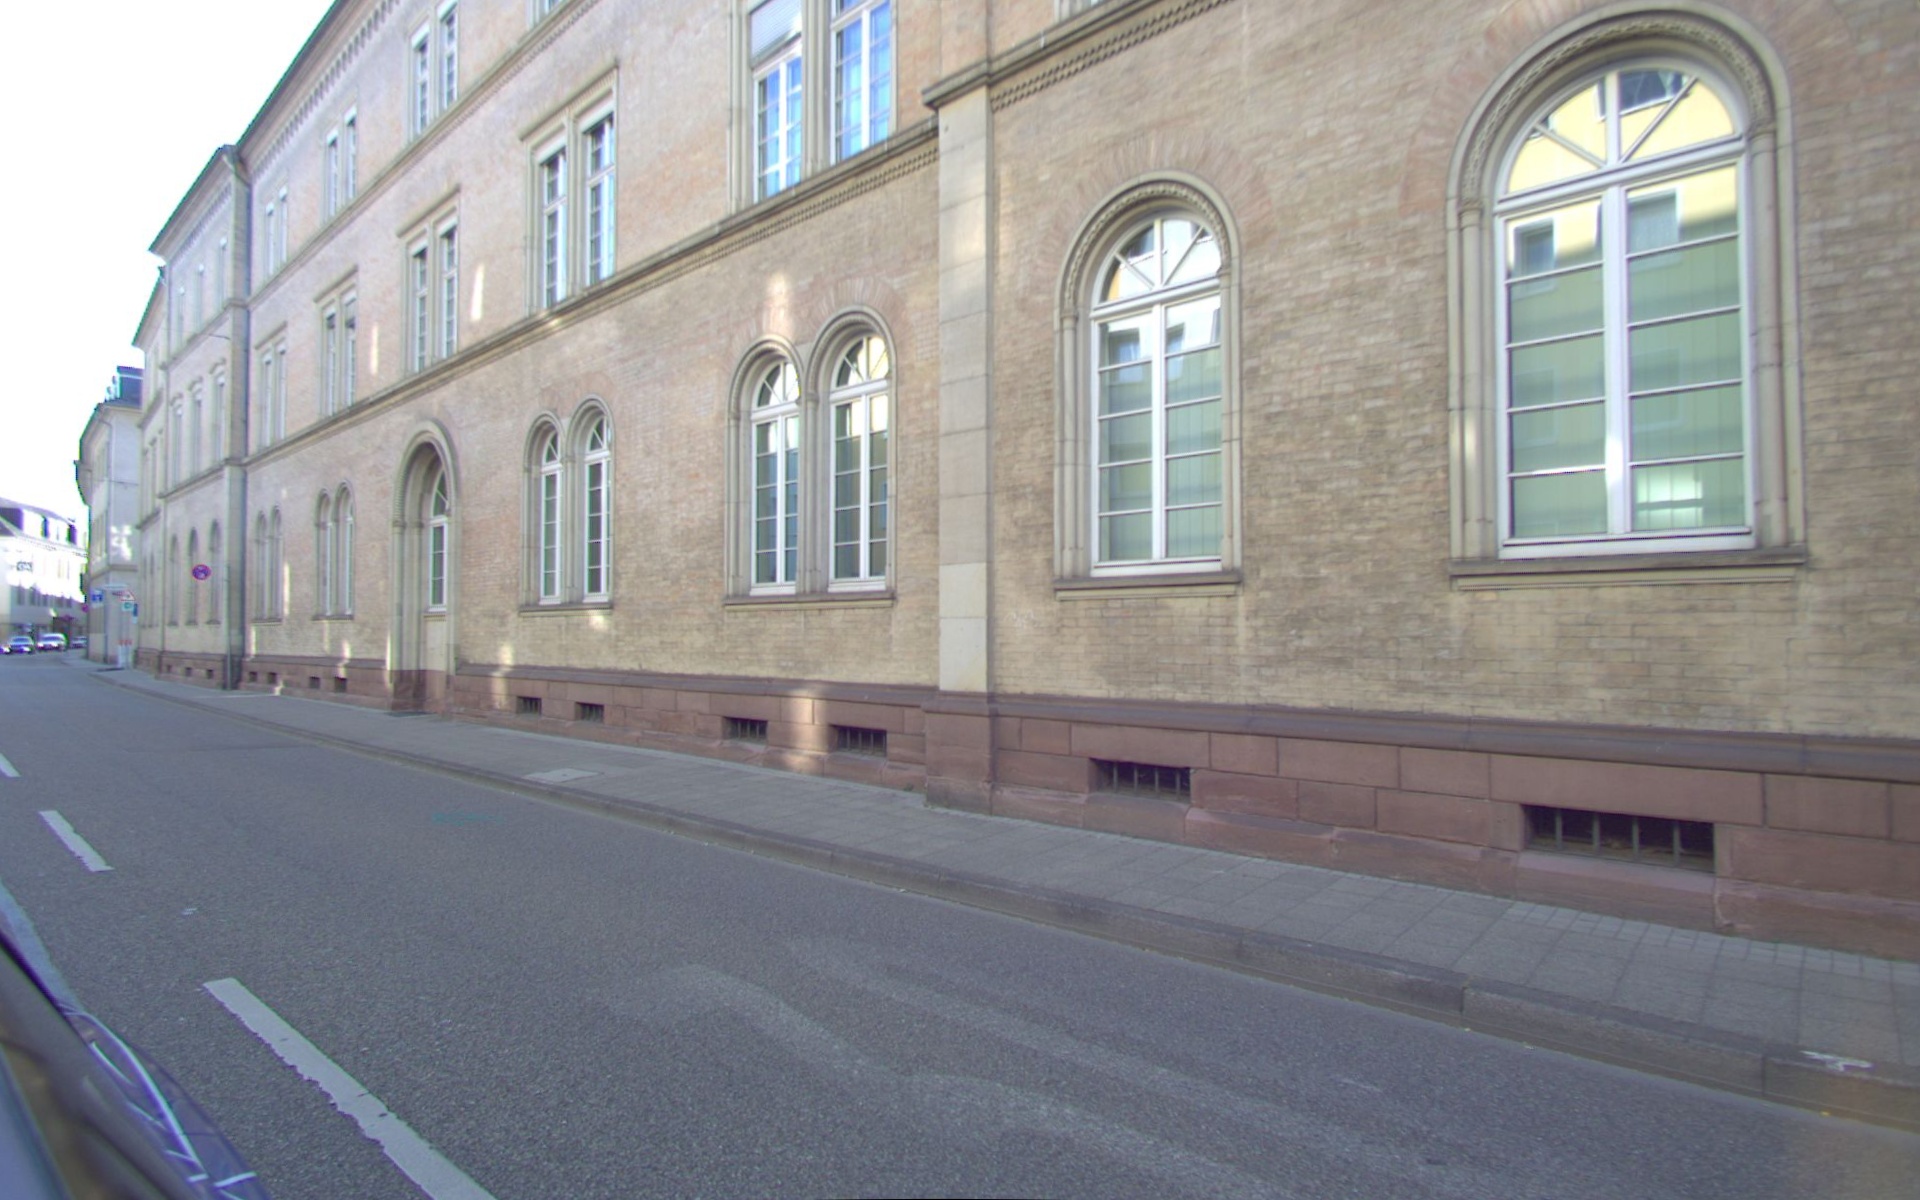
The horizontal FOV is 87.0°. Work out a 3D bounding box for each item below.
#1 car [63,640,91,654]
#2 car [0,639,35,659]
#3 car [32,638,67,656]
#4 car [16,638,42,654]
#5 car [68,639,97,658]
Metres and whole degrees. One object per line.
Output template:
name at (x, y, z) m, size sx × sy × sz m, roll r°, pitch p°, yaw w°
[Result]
car at (-108.981, 5.755, 124.922) m, size 1.896 × 1.737 × 4.242 m, roll 1°, pitch -3°, yaw -31°
car at (-83.184, 4.288, 89.284) m, size 1.833 × 1.737 × 3.748 m, roll 1°, pitch -3°, yaw -35°
car at (-92.472, 4.739, 102.812) m, size 1.892 × 1.735 × 4.973 m, roll 1°, pitch -2°, yaw -34°
car at (-101.911, 4.987, 110.806) m, size 1.511 × 1.737 × 3.748 m, roll 1°, pitch -2°, yaw -34°
car at (-80.157, 4.406, 92.502) m, size 1.638 × 1.737 × 3.747 m, roll 1°, pitch -3°, yaw -36°
